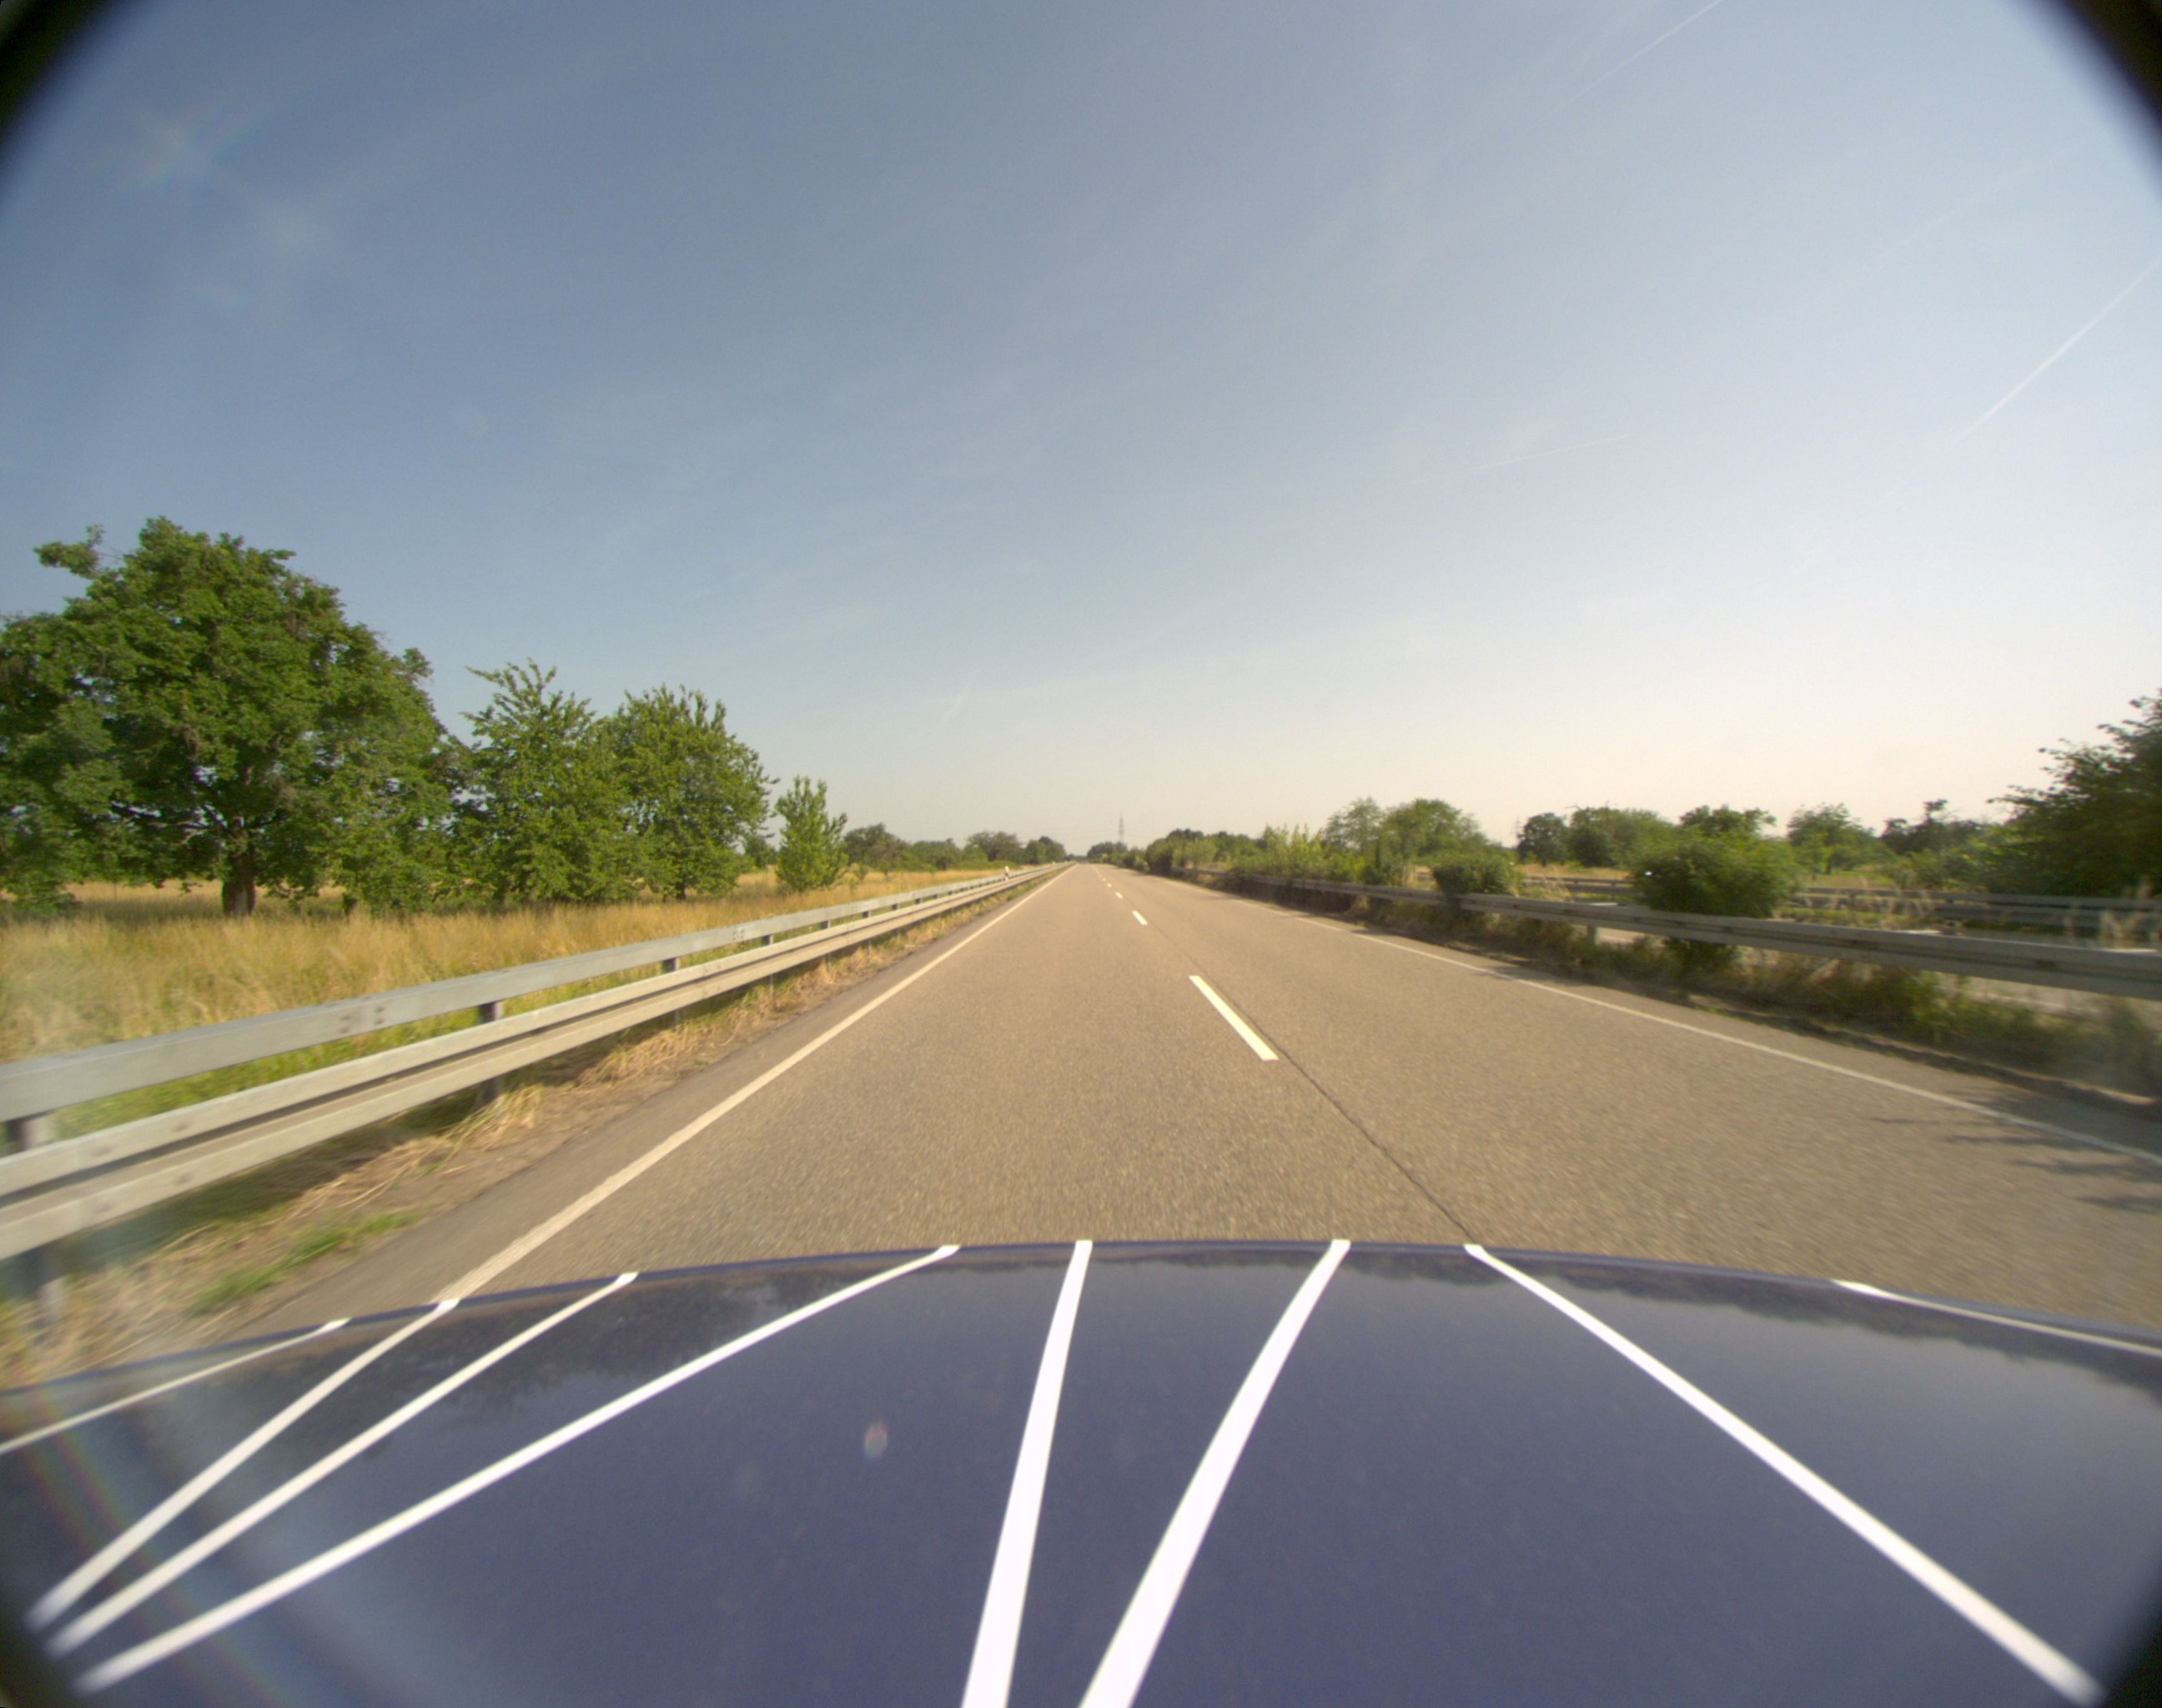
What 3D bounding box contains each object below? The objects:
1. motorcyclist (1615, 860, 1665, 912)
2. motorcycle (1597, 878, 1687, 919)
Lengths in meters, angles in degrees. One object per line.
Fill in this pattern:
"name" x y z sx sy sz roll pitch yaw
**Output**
"motorcyclist" 14.876 0.834 20.230 0.706 1.339 0.807 1 1 0
"motorcycle" 14.874 1.153 20.237 0.706 0.958 2.284 1 0 1
